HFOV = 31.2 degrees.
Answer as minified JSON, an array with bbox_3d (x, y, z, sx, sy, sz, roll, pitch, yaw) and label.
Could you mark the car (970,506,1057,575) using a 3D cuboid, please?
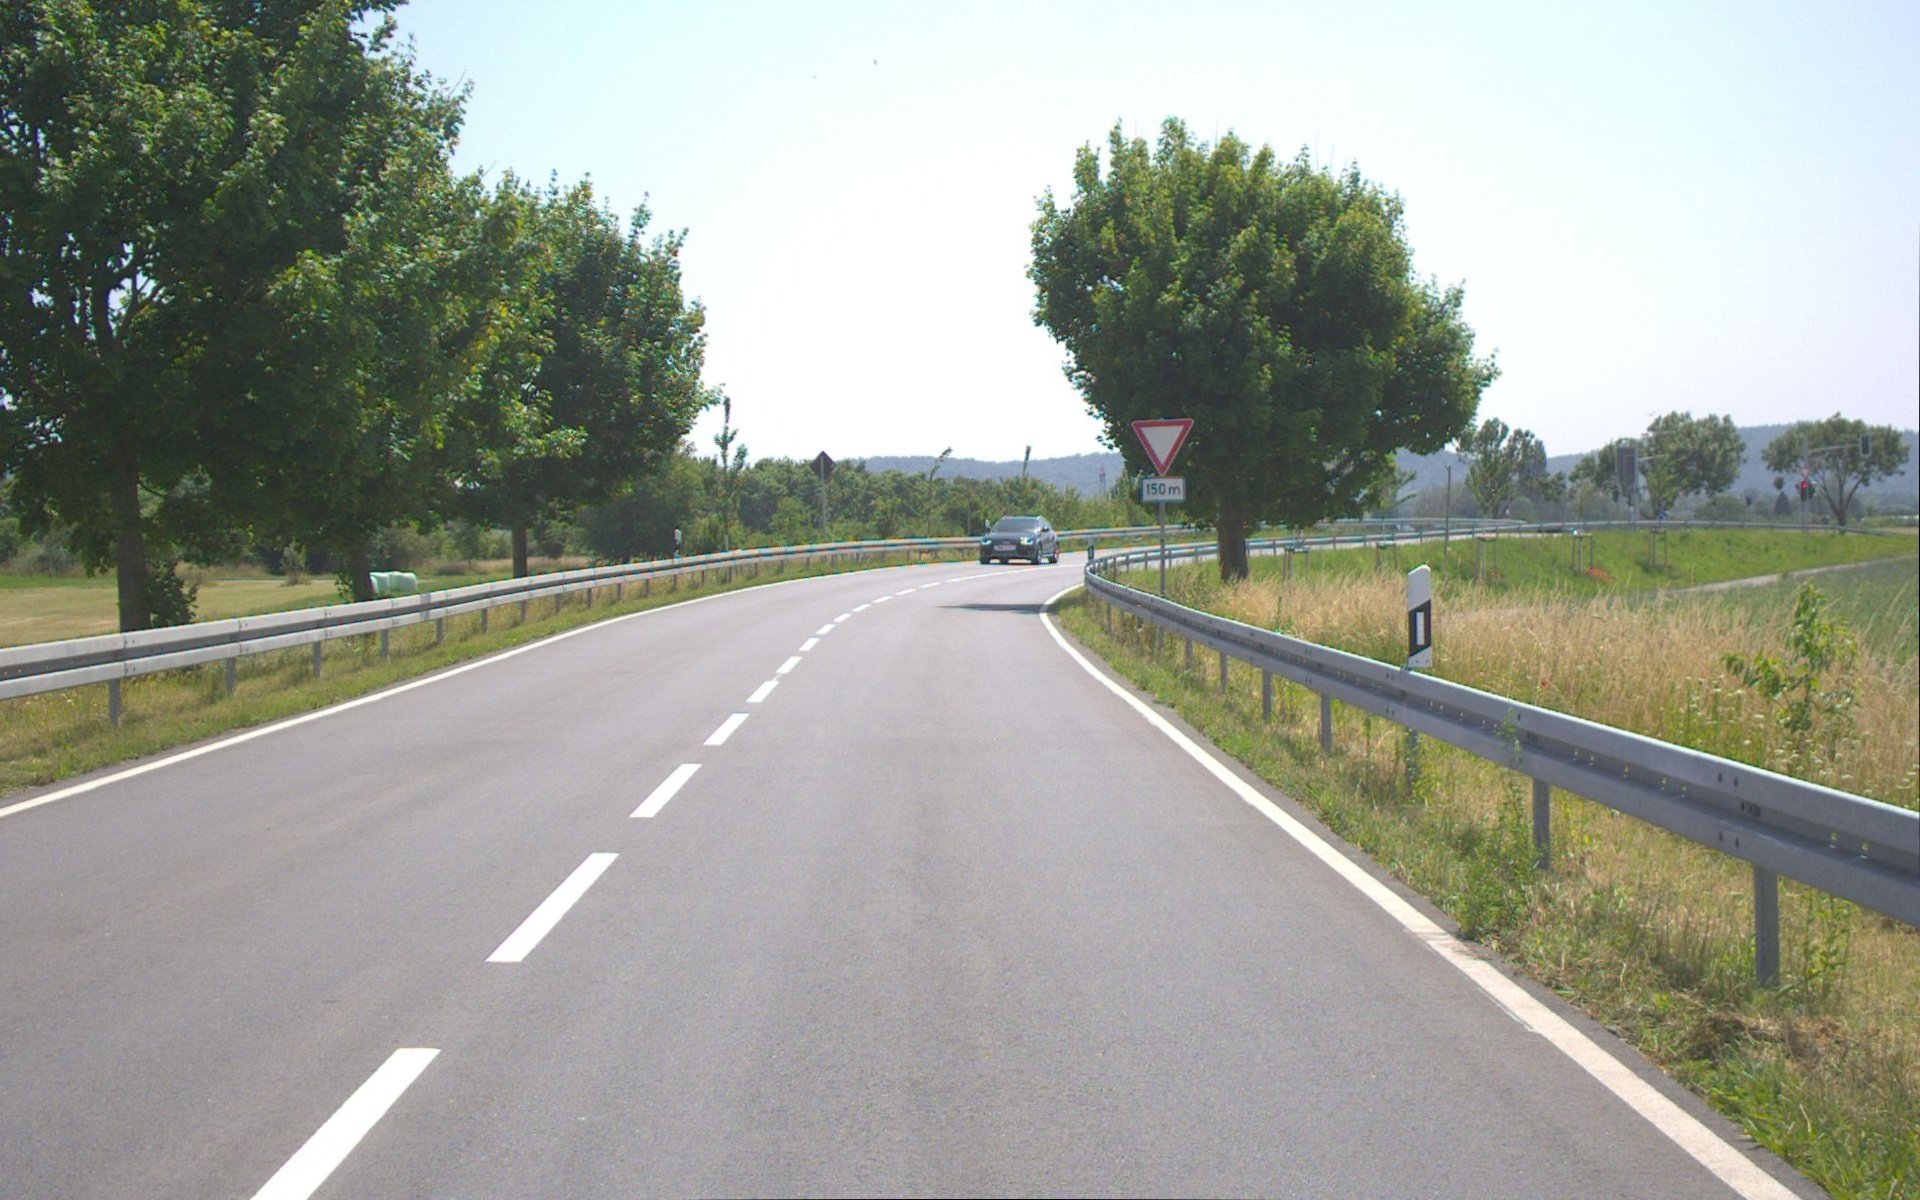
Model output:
[{"bbox_3d":[1.668,-1.817,105.853,1.994,2.007,3.998,1,0,10],"label":"car"}]
